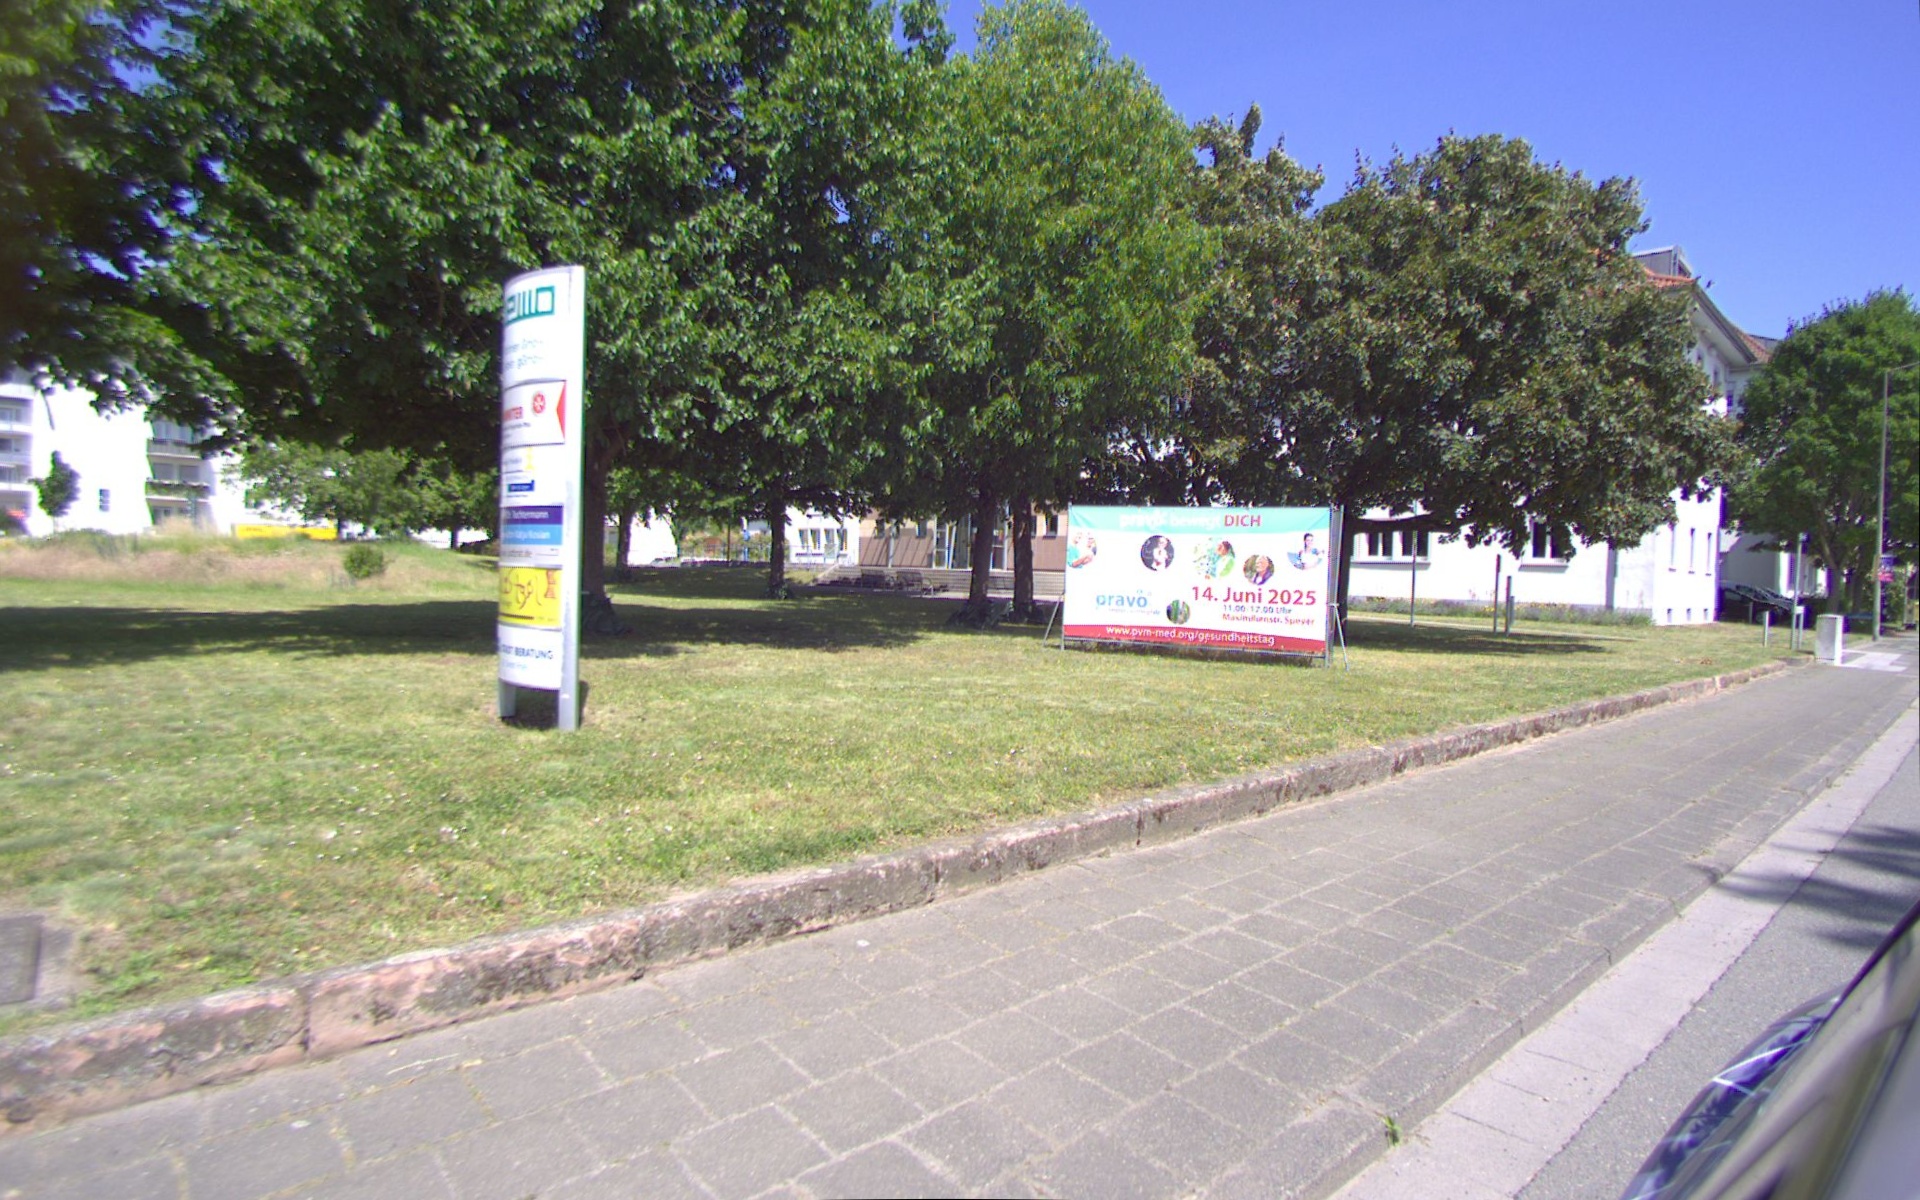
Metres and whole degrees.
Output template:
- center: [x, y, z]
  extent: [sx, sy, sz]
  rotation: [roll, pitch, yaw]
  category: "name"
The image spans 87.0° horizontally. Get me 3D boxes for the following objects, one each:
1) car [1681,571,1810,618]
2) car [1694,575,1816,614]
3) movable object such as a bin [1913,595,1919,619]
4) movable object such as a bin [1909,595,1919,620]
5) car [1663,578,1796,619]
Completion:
- center: [35.701, -0.301, 46.055]
  extent: [4.358, 1.808, 1.968]
  rotation: [6, 4, 44]
  category: "car"
- center: [37.998, -0.296, 48.458]
  extent: [4.358, 1.544, 1.968]
  rotation: [6, 4, 44]
  category: "car"
- center: [61.771, 0.496, 64.440]
  extent: [1.400, 1.499, 1.497]
  rotation: [0, 2, -45]
  category: "movable object such as a bin"
- center: [60.546, 0.478, 63.439]
  extent: [1.400, 1.499, 1.497]
  rotation: [0, 2, -45]
  category: "movable object such as a bin"
- center: [33.617, -0.110, 44.286]
  extent: [4.358, 1.452, 1.968]
  rotation: [6, 4, 44]
  category: "car"
